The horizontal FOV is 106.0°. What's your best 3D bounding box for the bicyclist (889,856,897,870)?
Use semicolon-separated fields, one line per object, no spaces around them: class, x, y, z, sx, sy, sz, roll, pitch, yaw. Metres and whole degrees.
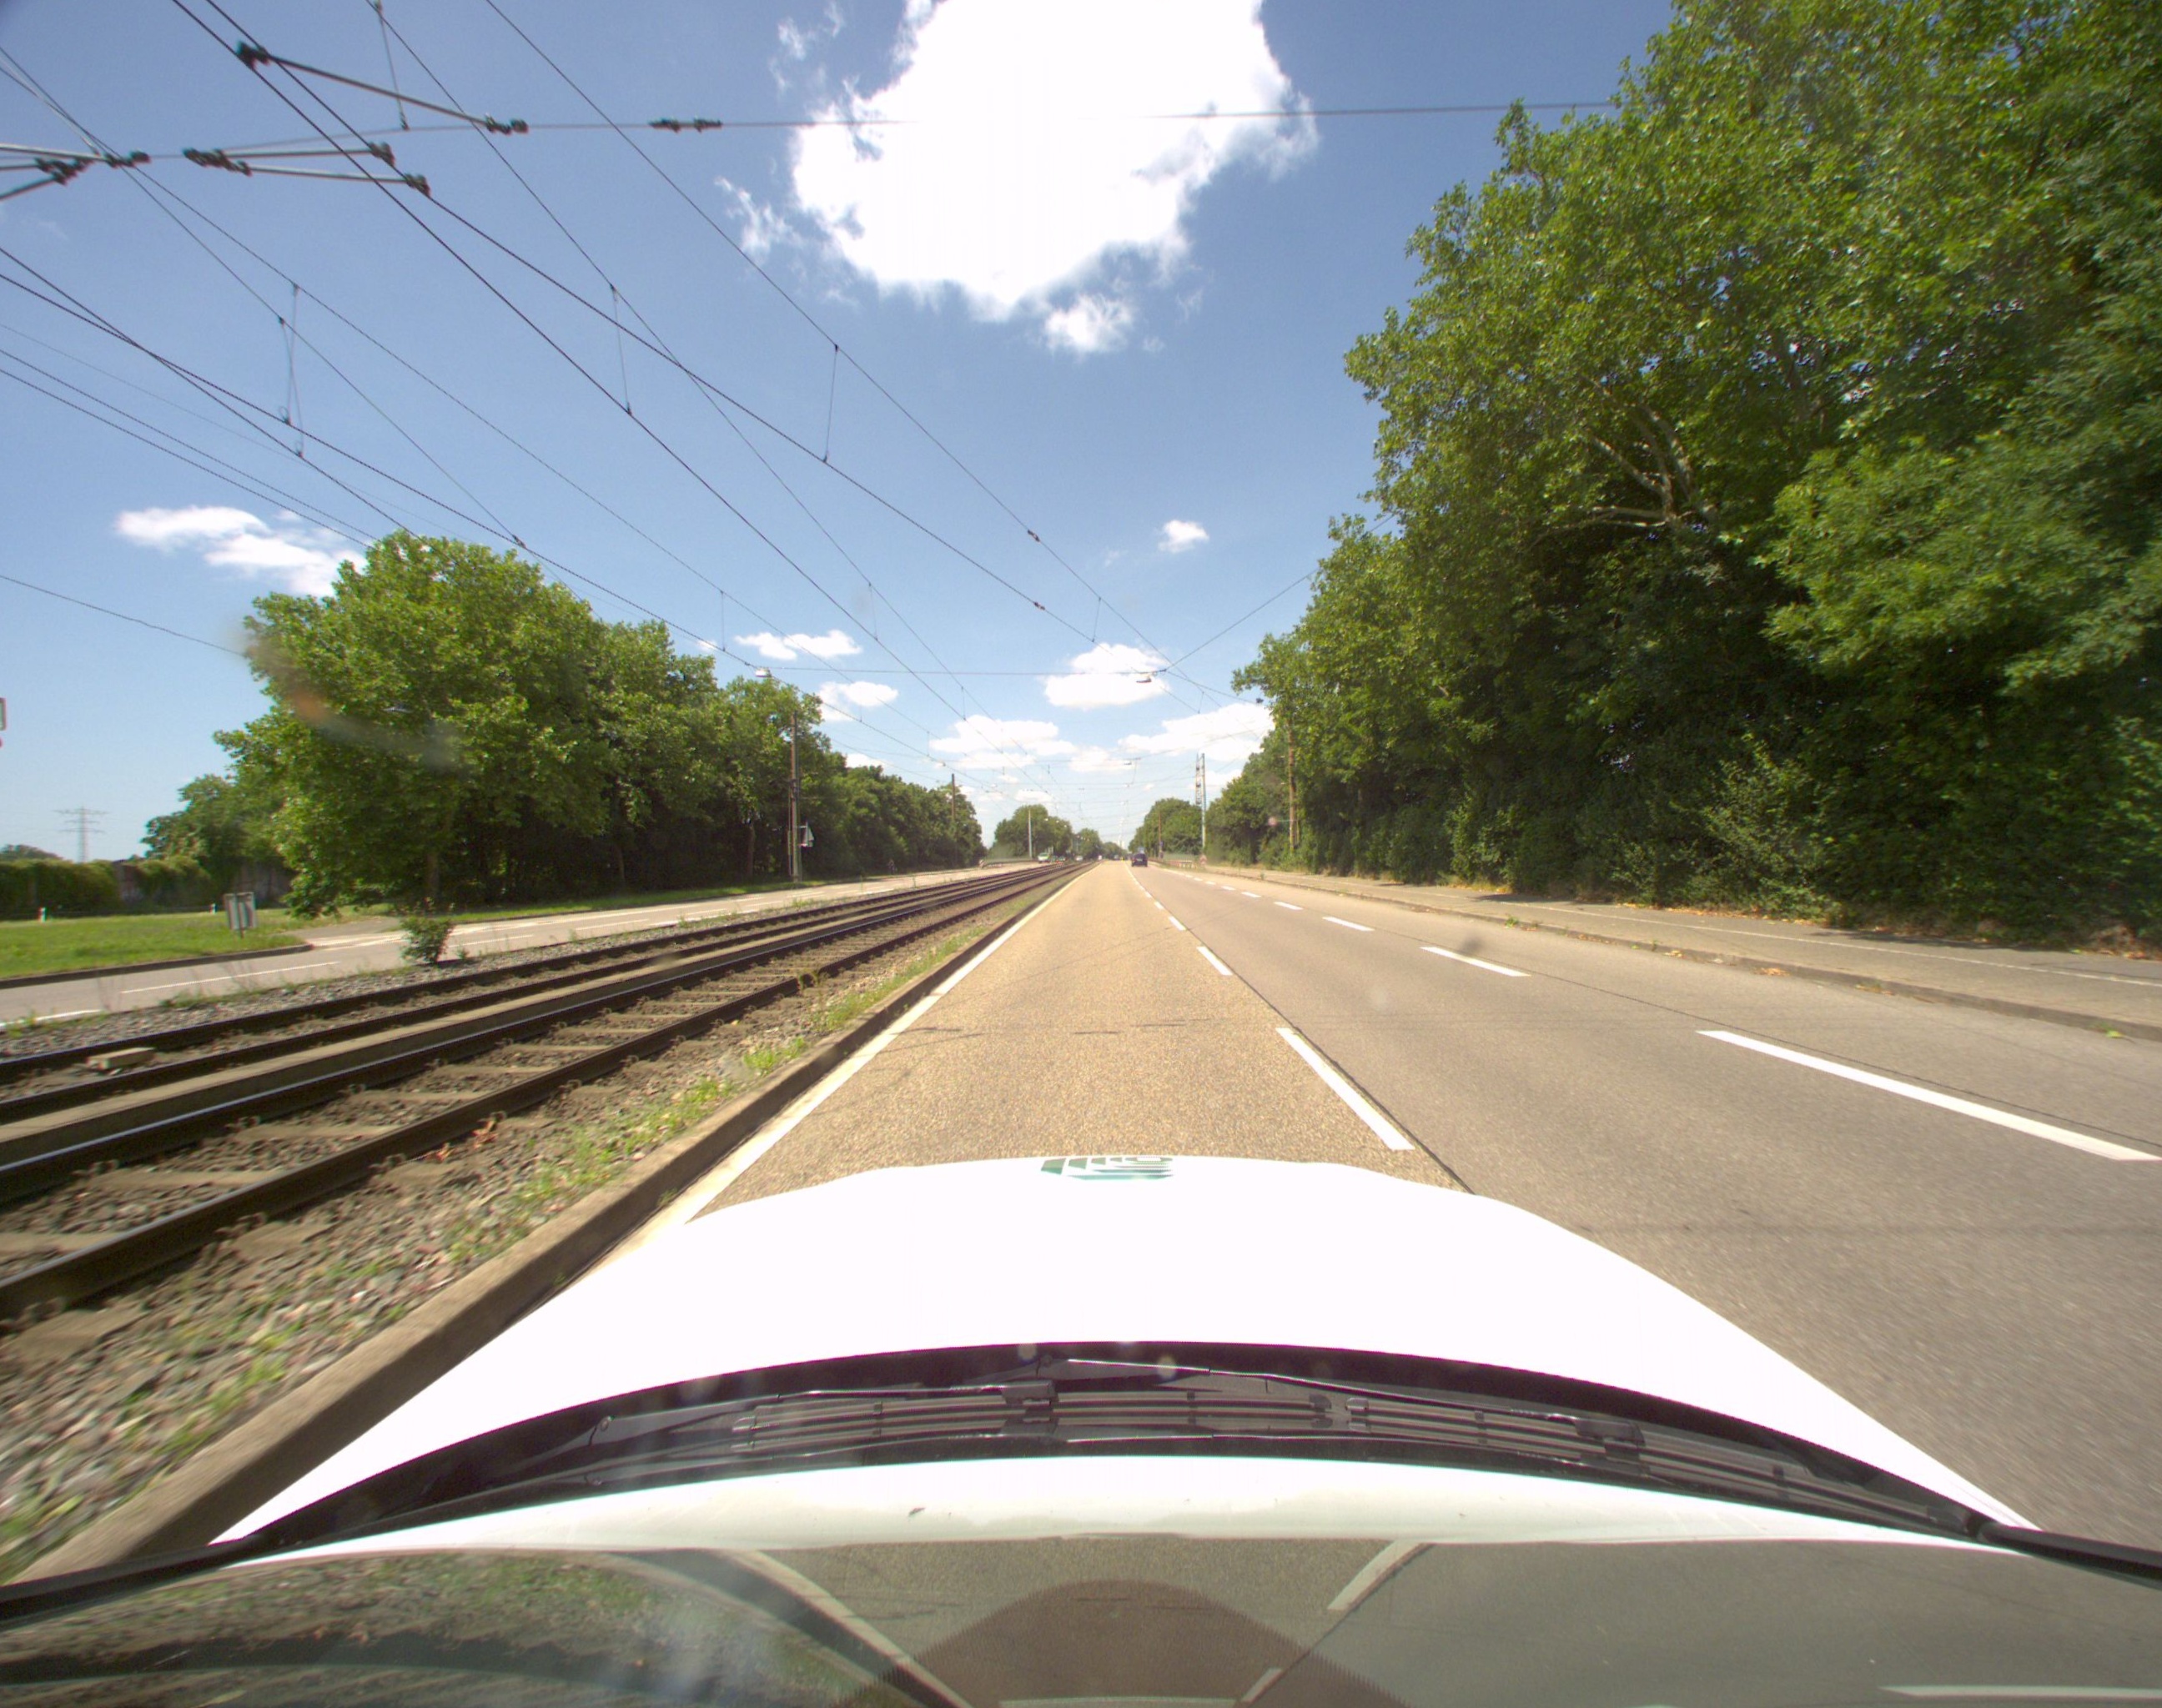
bicyclist;-17.826;0.835;77.085;0.566;1.367;0.632;0;-1;4

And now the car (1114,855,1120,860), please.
car;11.570;1.109;260.313;1.986;1.530;4.002;0;0;2

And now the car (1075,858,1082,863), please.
car;-0.632;1.784;228.602;1.704;1.420;4.627;-2;0;3

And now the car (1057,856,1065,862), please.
car;-4.995;1.317;204.143;1.568;1.400;3.940;-2;0;2

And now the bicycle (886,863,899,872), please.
bicycle;-17.826;1.296;77.061;0.583;0.819;2.071;-3;0;5

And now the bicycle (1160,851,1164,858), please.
bicycle;13.723;0.094;138.007;0.557;1.024;1.849;-2;-1;3

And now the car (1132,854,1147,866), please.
car;6.571;0.679;91.805;1.580;1.343;3.273;-2;0;1

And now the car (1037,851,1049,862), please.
car;-7.188;0.424;153.839;1.804;1.925;5.183;-2;0;3

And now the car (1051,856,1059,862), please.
car;-5.835;1.096;183.488;1.557;1.347;3.932;-2;0;3
